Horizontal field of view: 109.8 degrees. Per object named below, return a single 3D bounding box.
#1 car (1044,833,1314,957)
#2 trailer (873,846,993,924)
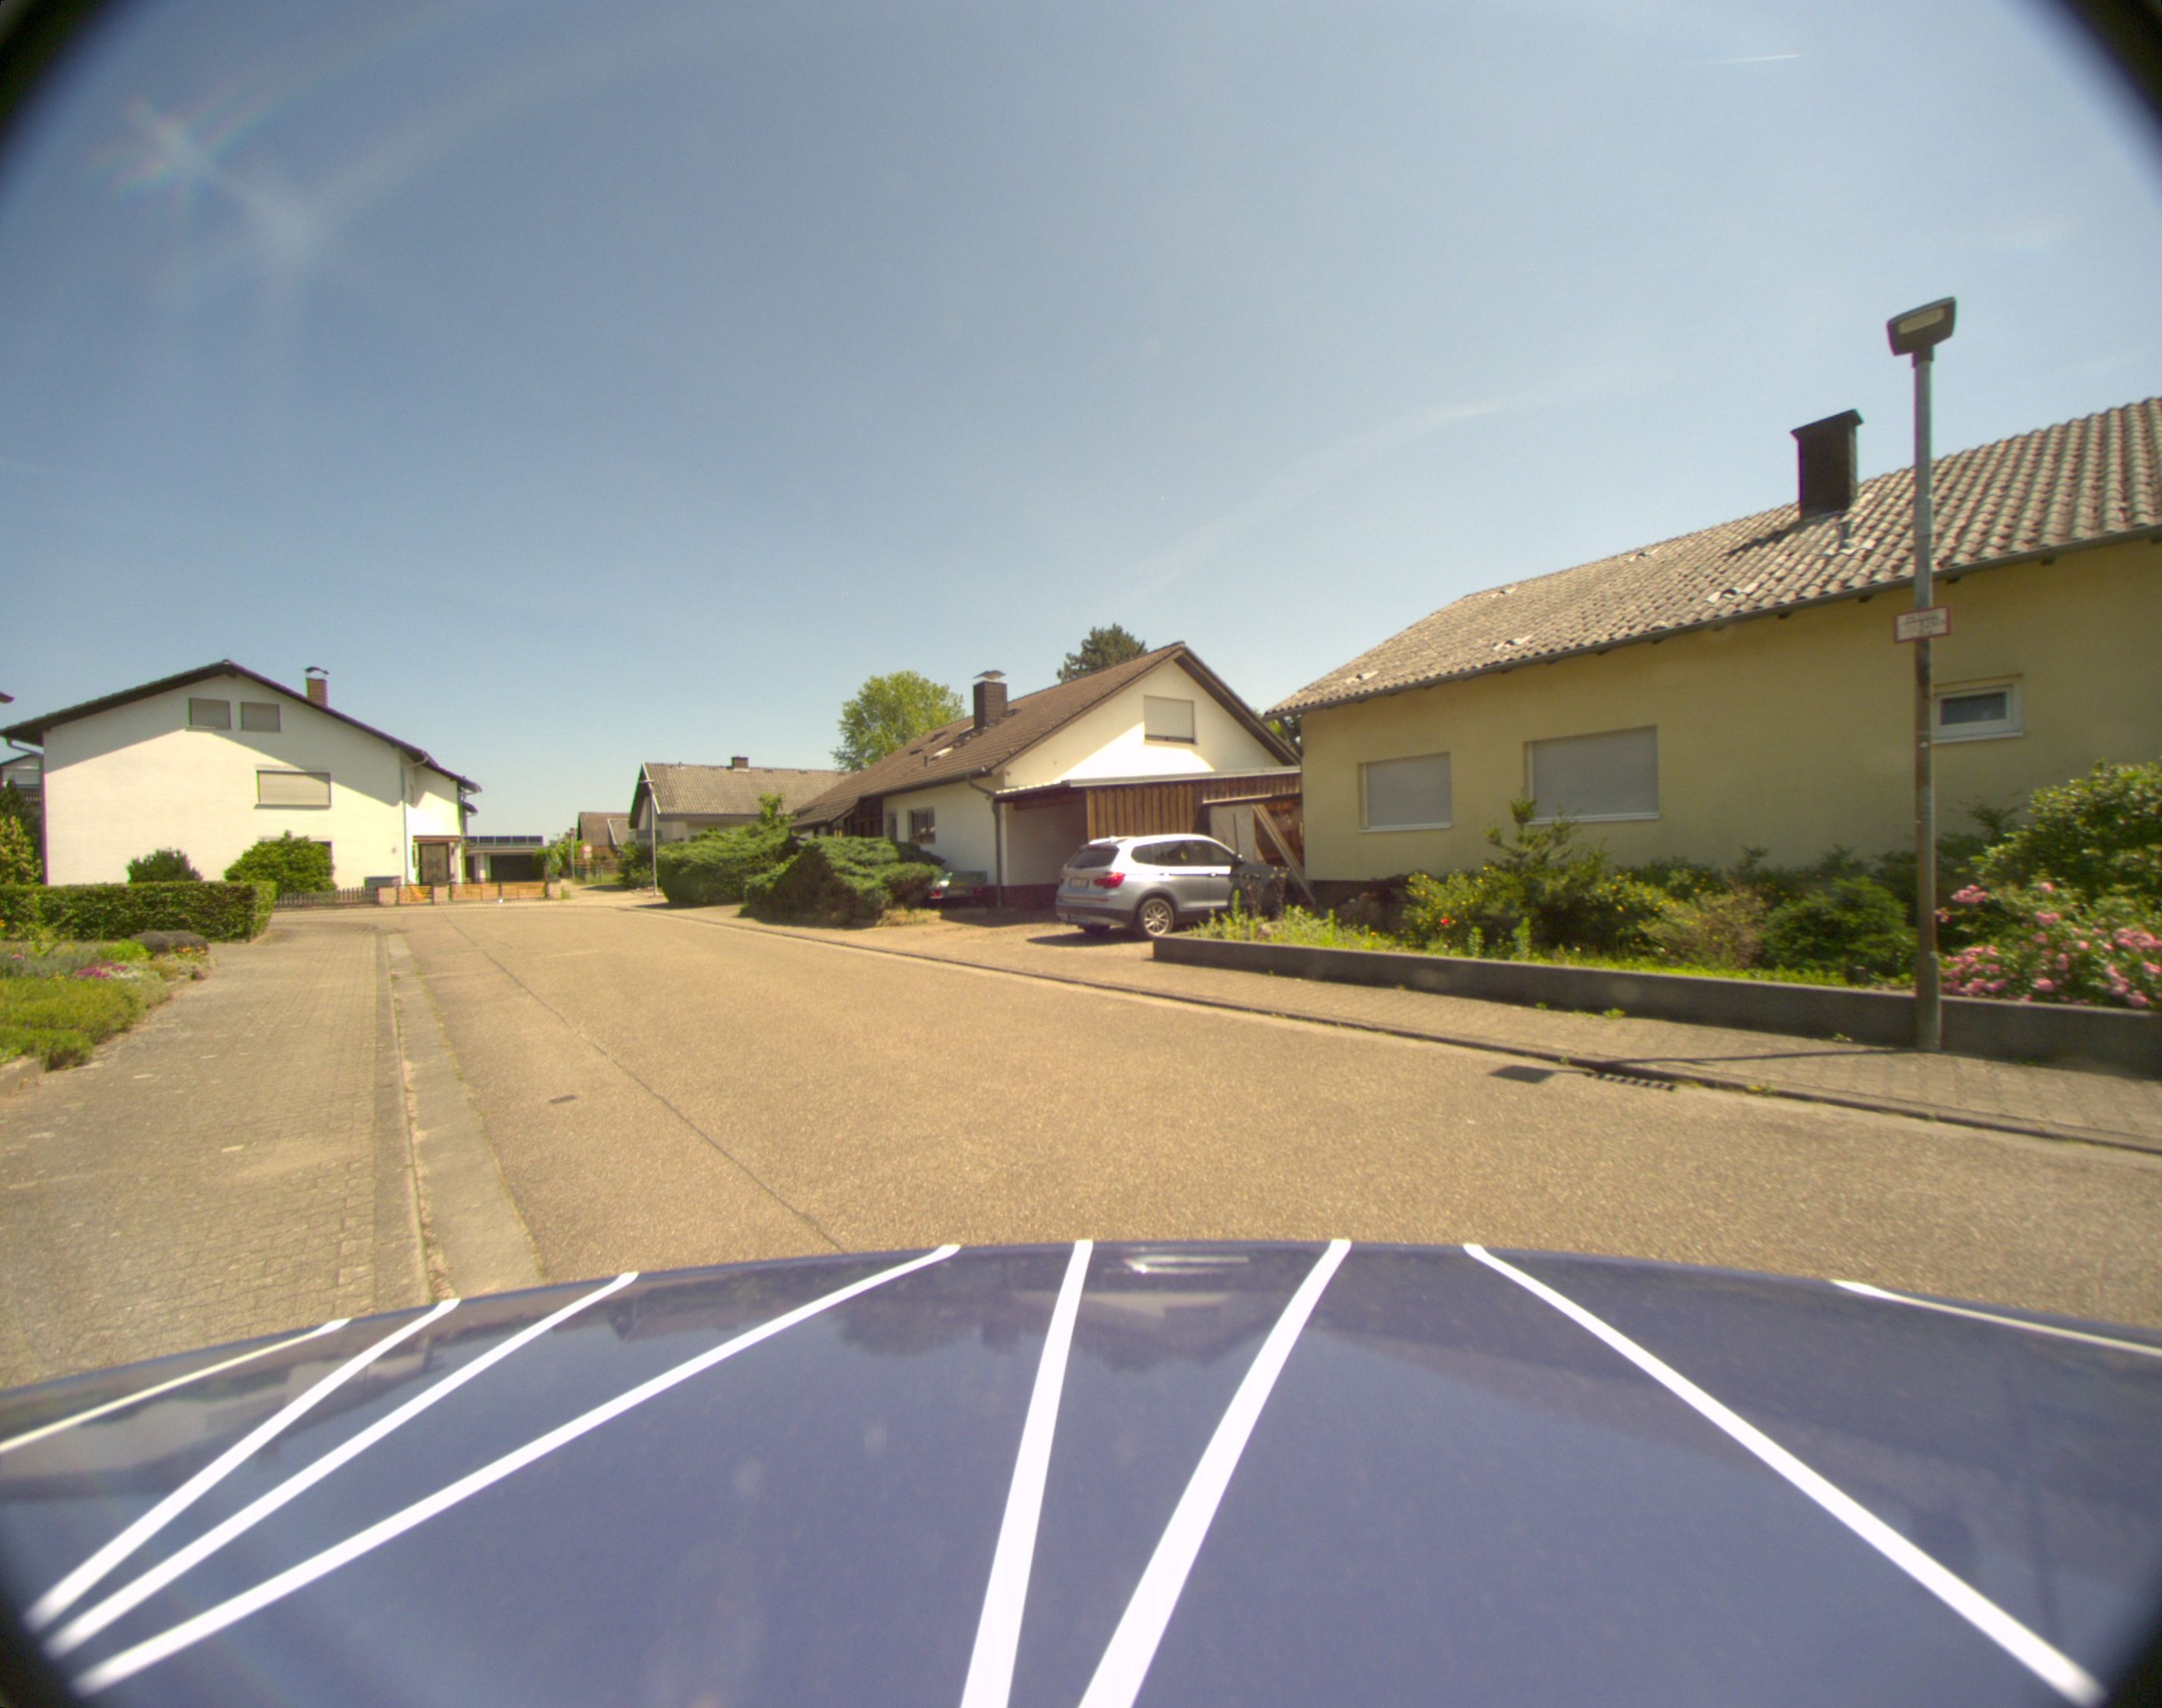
[{"bbox_3d":[1.821,0.592,13.361,4.649,1.692,1.705,-3,2,-33],"label":"car"},{"bbox_3d":[-3.716,0.682,18.712,1.595,1.663,3.287,-4,2,-36],"label":"trailer"}]
